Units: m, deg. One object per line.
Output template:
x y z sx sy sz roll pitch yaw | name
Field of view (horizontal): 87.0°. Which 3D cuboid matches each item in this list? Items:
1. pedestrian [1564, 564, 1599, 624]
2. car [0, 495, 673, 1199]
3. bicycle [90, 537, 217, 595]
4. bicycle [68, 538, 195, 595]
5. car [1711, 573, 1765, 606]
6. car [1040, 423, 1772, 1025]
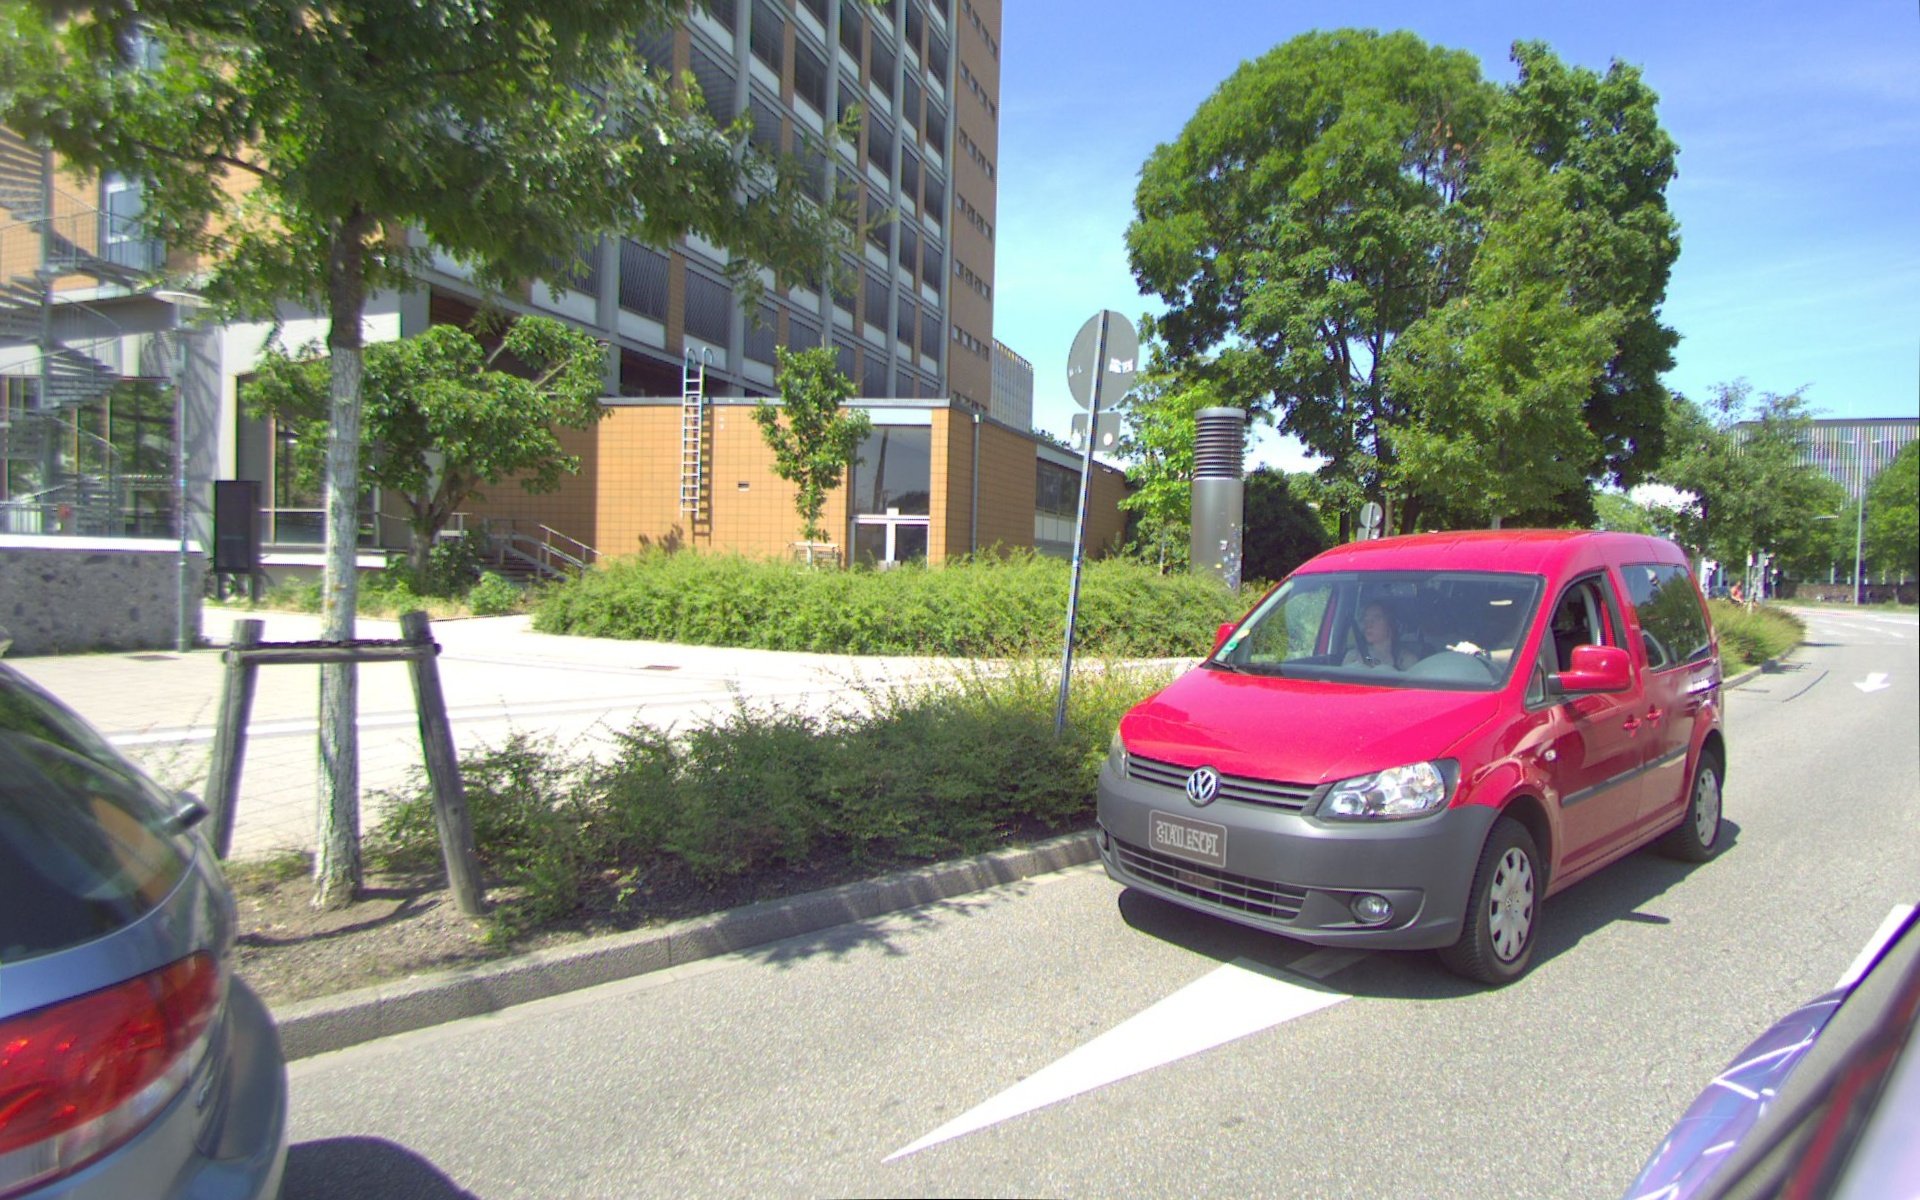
19.285 -0.197 31.418 0.603 1.820 0.728 0 2 -39 | pedestrian
-2.471 0.623 0.935 3.932 1.477 1.655 0 1 -40 | car
-18.092 -0.745 22.762 0.630 1.233 2.201 0 1 23 | bicycle
-18.848 -0.749 23.094 0.630 1.233 2.201 0 1 23 | bicycle
50.766 -0.715 66.126 1.981 2.038 3.963 2 2 27 | car
2.594 0.362 5.237 4.465 1.882 1.655 0 1 -40 | car
